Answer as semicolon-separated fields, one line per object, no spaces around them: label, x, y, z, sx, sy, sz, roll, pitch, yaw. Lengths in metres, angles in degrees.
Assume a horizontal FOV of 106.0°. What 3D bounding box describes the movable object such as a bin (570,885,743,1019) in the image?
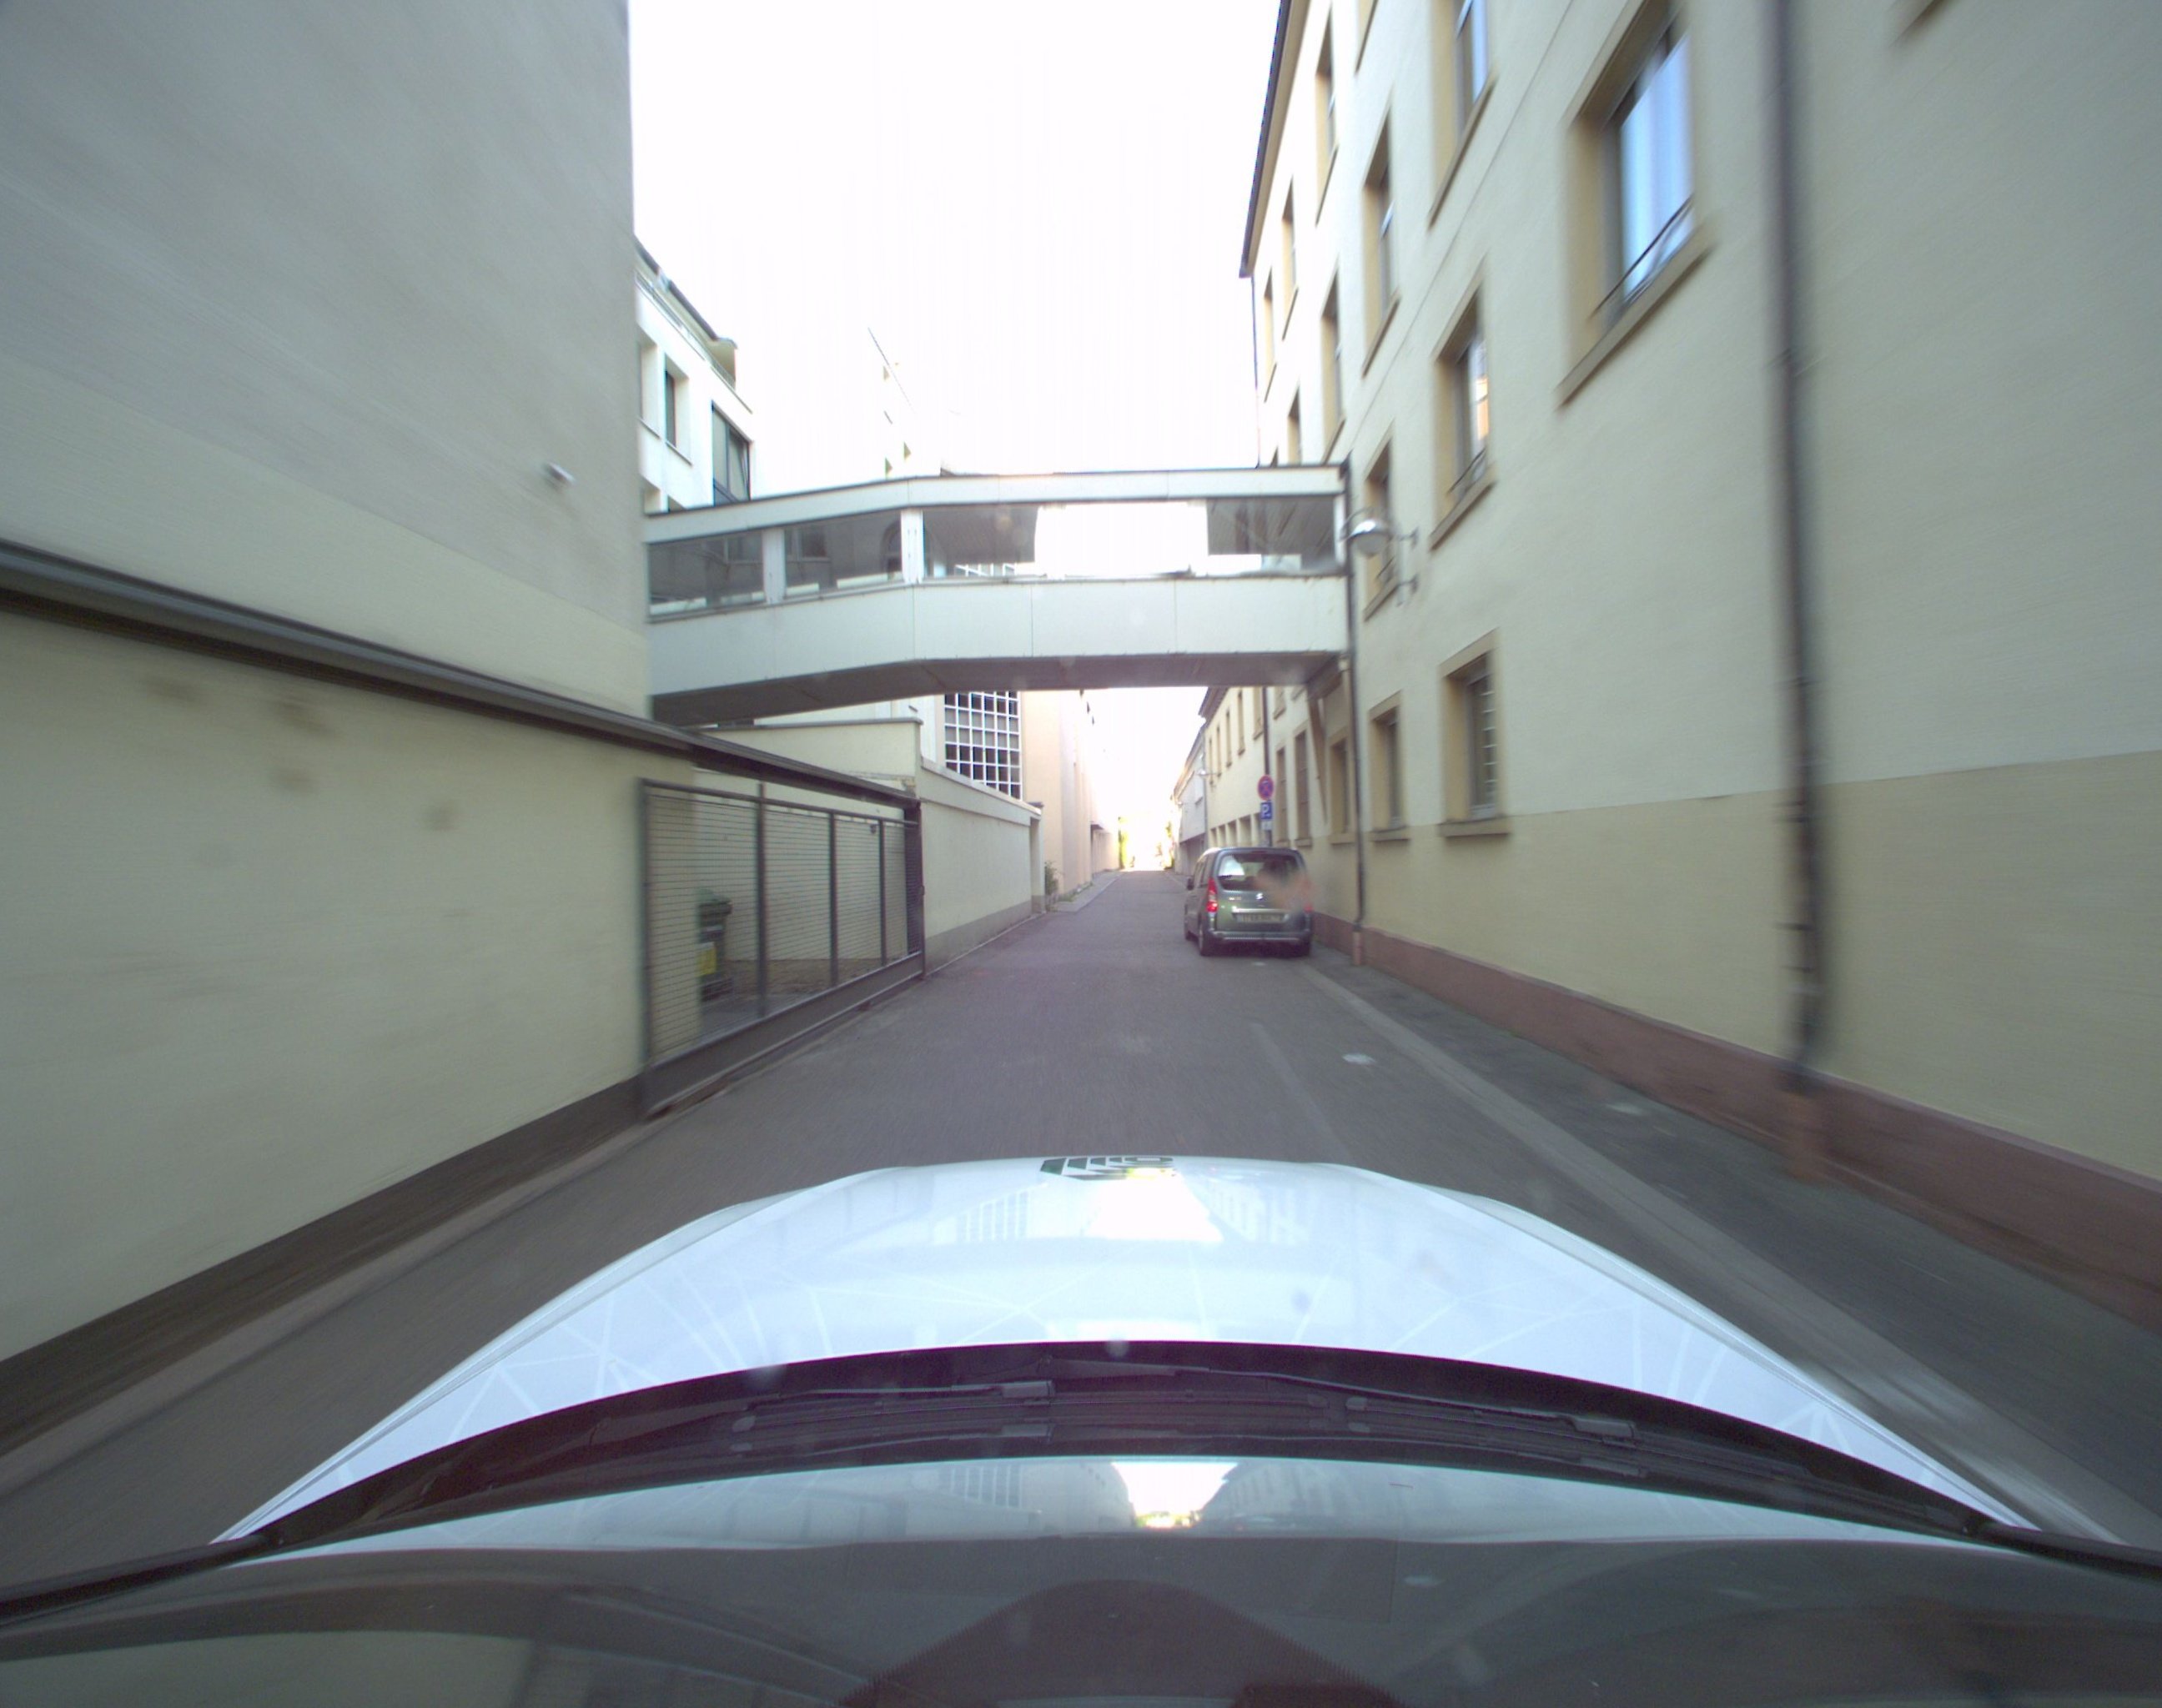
movable object such as a bin;-5.194;1.163;10.115;1.175;1.424;1.591;-1;1;6

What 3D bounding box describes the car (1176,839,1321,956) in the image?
car;2.839;0.749;14.712;1.848;1.756;4.163;2;-2;2

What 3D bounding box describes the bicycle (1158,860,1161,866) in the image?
bicycle;12.901;1.522;134.070;0.440;0.915;1.520;-1;1;8

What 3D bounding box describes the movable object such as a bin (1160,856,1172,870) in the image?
movable object such as a bin;9.068;0.952;86.921;1.102;1.436;1.416;-2;3;4

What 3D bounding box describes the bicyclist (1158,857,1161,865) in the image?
bicyclist;12.891;1.213;134.007;0.510;1.322;0.560;-1;1;7
